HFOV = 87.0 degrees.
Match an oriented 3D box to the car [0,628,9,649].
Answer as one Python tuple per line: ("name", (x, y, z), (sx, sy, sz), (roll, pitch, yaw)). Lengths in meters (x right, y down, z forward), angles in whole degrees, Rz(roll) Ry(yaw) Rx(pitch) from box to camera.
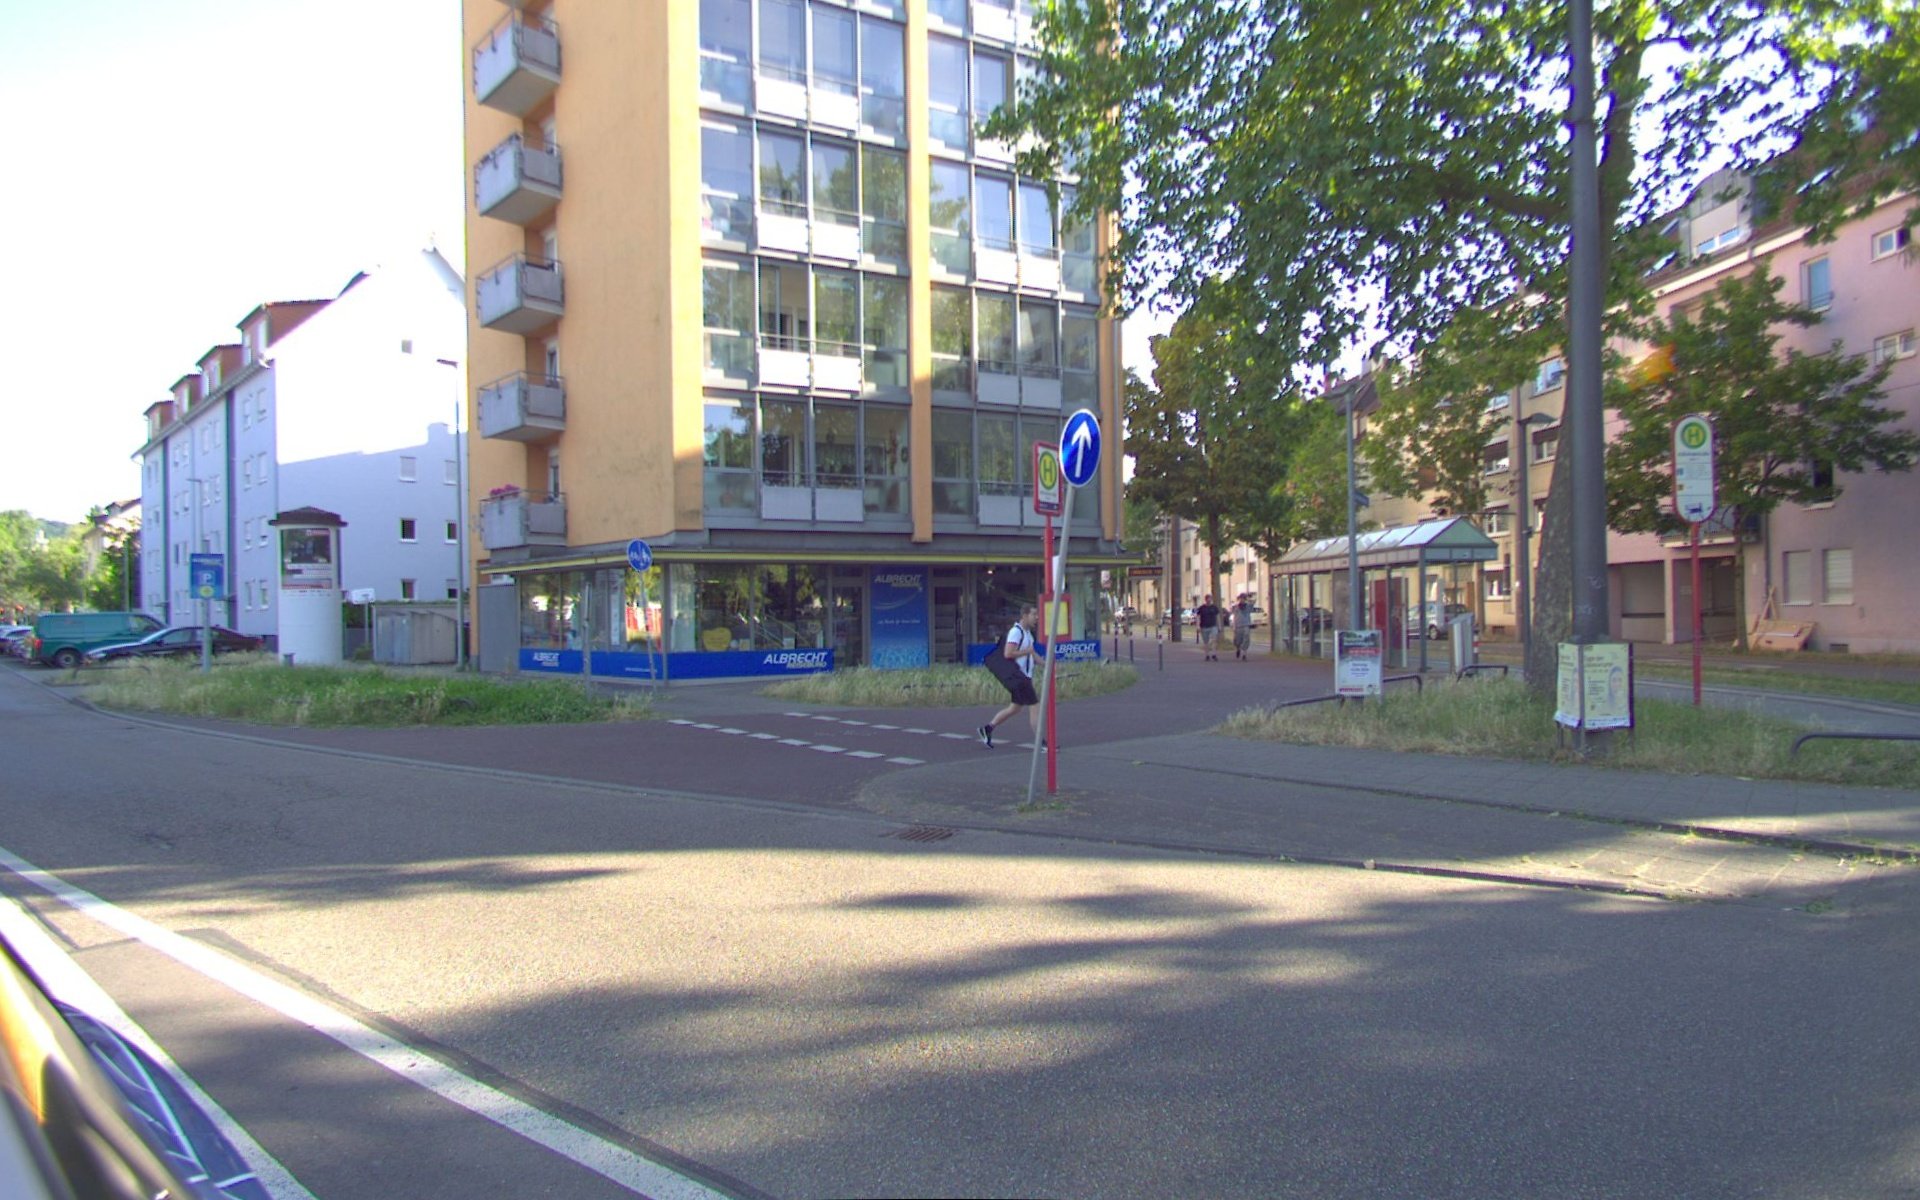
("car", (-74.752, 2.988, 76.965), (3.490, 1.585, 1.867), (-1, 0, -44))

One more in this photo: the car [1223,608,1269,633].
("car", (19.179, 1.352, 68.050), (1.741, 1.588, 4.049), (-1, 0, -3))

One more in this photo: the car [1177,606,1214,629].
("car", (18.650, 1.357, 80.344), (1.771, 1.719, 4.170), (-1, 0, -3))

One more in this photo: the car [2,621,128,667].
("car", (-38.821, 1.867, 43.930), (4.016, 1.765, 1.900), (-1, 0, -44))

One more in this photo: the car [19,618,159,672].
("car", (-33.115, 1.650, 38.531), (3.941, 1.829, 2.001), (-1, 0, -44))

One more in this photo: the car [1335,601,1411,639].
("car", (19.912, 0.923, 48.985), (1.911, 1.719, 3.827), (-1, 0, -3))

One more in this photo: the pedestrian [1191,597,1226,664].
("pedestrian", (6.573, 0.801, 26.785), (0.803, 1.763, 0.538), (-1, 0, 6))

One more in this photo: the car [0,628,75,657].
("car", (-55.653, 2.503, 60.383), (4.199, 1.585, 1.867), (-1, 0, -44))

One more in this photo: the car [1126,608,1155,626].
("car", (17.792, 1.644, 99.871), (1.911, 1.719, 4.003), (-1, 0, -3))

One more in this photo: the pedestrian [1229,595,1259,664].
("pedestrian", (7.363, 0.766, 26.264), (0.622, 1.763, 0.689), (-1, 0, 6))

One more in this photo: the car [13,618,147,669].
("car", (-35.114, 1.676, 40.434), (3.941, 1.829, 2.001), (-1, 0, -44))

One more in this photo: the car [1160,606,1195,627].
("car", (18.439, 1.400, 85.798), (1.830, 1.719, 4.170), (-1, 0, -3))

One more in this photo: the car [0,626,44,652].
("car", (-63.489, 2.605, 66.995), (4.199, 1.585, 1.867), (-1, 0, -44))

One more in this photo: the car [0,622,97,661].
("car", (-46.111, 2.039, 50.867), (4.061, 1.785, 1.758), (-1, 0, -44))

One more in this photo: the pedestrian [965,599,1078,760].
("pedestrian", (0.723, 0.870, 11.633), (1.080, 1.750, 0.897), (-1, 0, 19))

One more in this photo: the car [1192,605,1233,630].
("car", (18.712, 1.272, 75.155), (1.808, 1.719, 4.059), (-1, 0, -3))

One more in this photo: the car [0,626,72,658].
("car", (-55.786, 2.474, 60.436), (4.016, 1.765, 1.900), (-1, 0, -44))

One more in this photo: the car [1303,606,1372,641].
("car", (19.923, 1.208, 53.597), (1.911, 1.719, 4.115), (-1, 0, -3))

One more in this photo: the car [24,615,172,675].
("car", (-31.209, 1.559, 36.688), (2.001, 1.962, 3.942), (-1, 0, 44))

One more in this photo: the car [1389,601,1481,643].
("car", (20.752, 0.913, 44.430), (1.911, 1.719, 4.115), (-1, 0, -3))

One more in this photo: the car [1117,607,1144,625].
("car", (17.743, 1.644, 105.544), (1.911, 1.719, 4.372), (-1, 0, -3))

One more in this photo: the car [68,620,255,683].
("car", (-24.267, 1.511, 30.865), (4.361, 1.674, 2.003), (-1, 0, -41))

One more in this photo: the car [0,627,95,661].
("car", (-48.114, 2.276, 52.958), (4.199, 1.585, 1.867), (-1, 0, -44))

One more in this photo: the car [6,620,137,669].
("car", (-36.852, 1.809, 42.012), (4.003, 1.829, 1.938), (-1, 0, -44))
